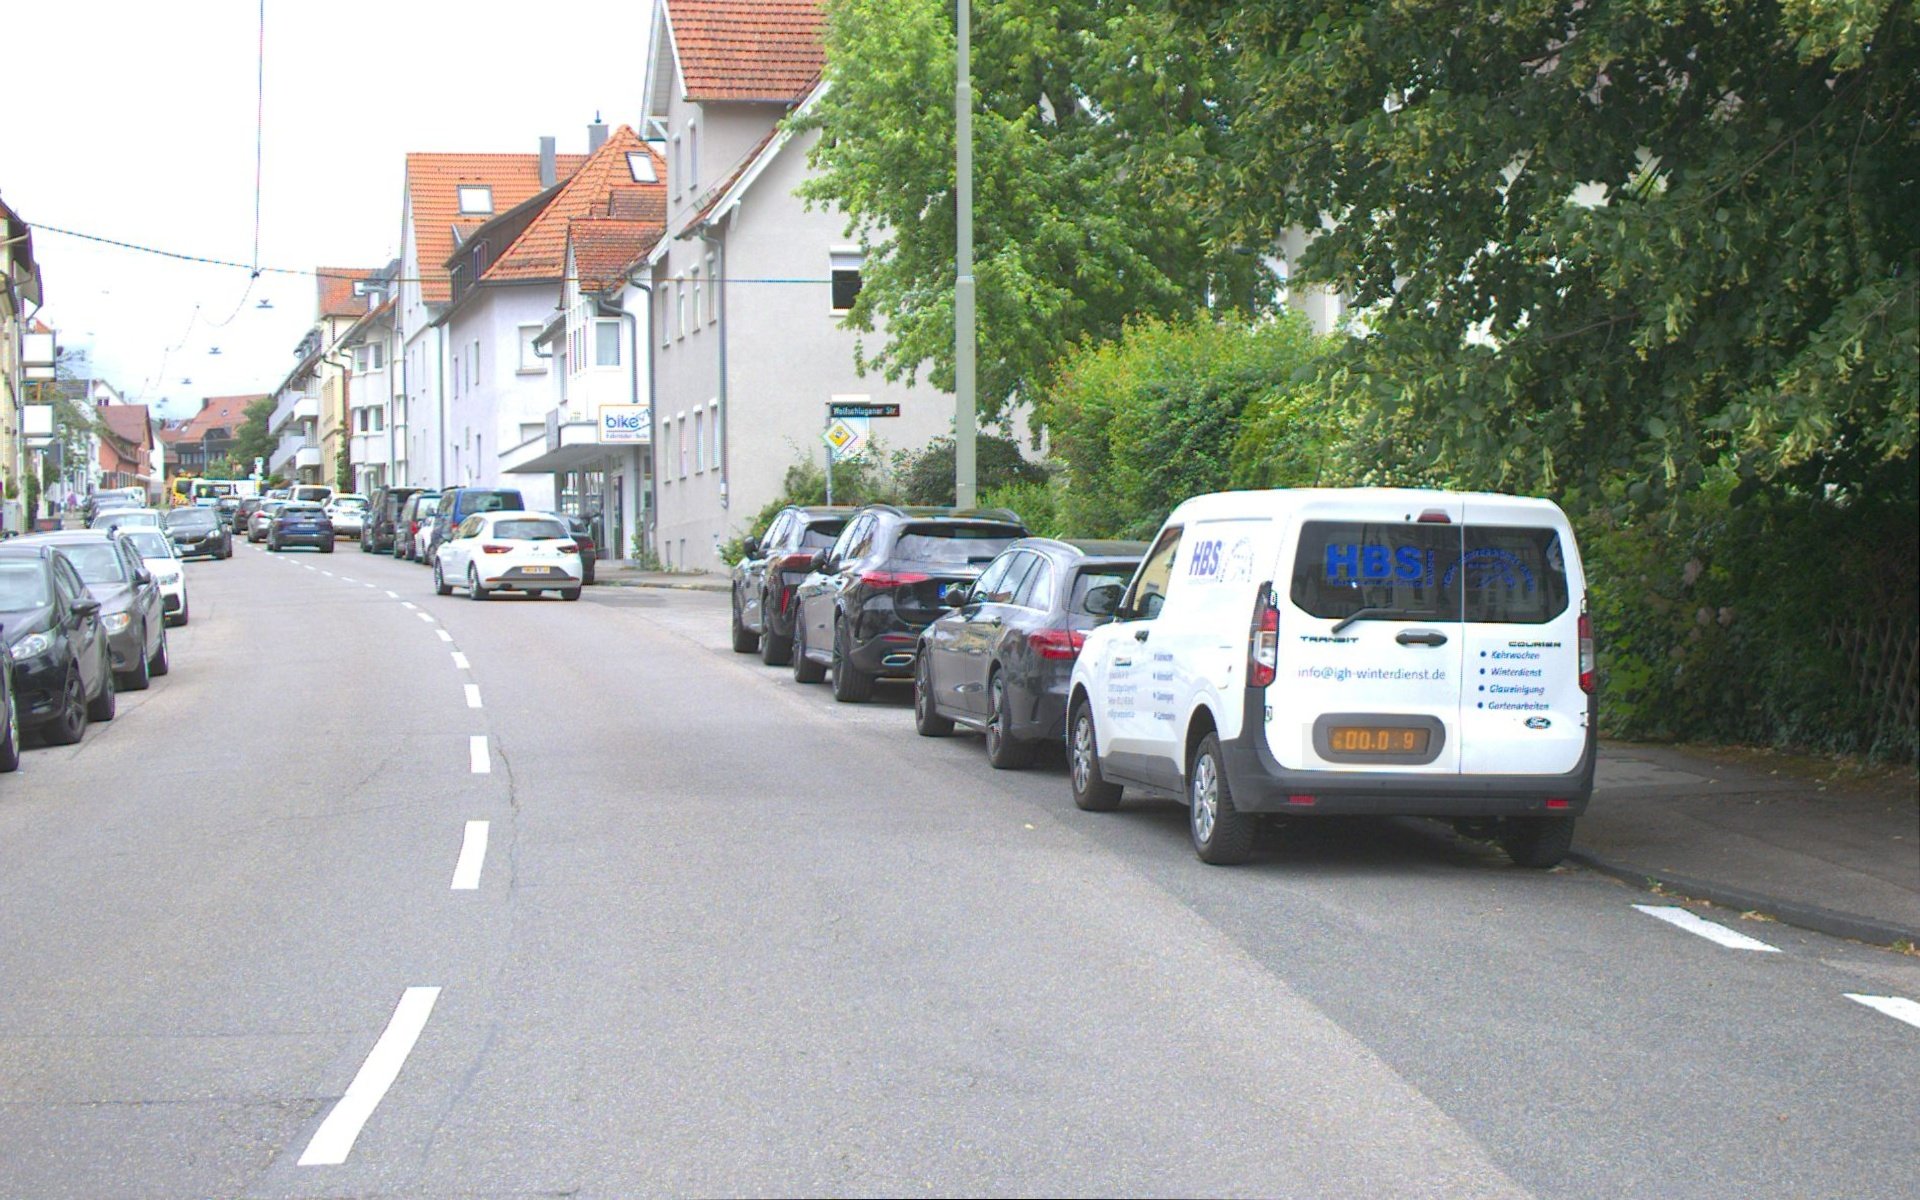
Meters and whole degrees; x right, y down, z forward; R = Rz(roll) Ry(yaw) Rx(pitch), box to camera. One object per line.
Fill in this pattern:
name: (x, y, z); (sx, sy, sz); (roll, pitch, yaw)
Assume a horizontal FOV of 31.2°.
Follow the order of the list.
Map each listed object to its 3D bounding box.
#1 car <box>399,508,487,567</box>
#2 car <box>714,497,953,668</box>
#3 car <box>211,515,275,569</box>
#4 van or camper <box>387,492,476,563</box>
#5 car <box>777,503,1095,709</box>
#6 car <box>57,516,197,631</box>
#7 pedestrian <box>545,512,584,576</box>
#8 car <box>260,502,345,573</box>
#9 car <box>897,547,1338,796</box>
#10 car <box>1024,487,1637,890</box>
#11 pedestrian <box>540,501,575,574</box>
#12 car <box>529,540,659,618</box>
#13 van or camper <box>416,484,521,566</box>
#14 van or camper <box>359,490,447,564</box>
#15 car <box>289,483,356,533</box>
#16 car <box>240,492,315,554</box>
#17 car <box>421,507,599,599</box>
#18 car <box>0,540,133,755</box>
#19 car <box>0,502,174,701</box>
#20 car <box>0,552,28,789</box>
car: (-13.384, -1.627, 88.790); (1.713, 1.431, 4.641); (1, 1, -15)
car: (-1.371, -0.204, 35.292); (1.810, 1.610, 4.540); (1, 1, -10)
car: (-27.396, -2.235, 131.249); (2.151, 2.007, 4.001); (1, 1, -15)
van or camper: (-14.523, -2.007, 94.228); (1.870, 1.822, 4.682); (2, 1, -15)
car: (-0.300, 0.017, 29.702); (1.993, 1.610, 4.540); (1, 1, -10)
car: (-11.828, -0.397, 49.007); (1.725, 1.453, 3.900); (-4, 2, -12)
pedestrian: (-10.785, -1.528, 93.817); (0.871, 1.719, 0.619); (1, 1, 21)
car: (-19.496, -1.863, 101.860); (2.151, 2.007, 4.001); (1, 1, -15)
car: (0.922, 0.394, 23.055); (1.993, 1.473, 4.621); (-1, 1, -10)
car: (1.715, 0.342, 17.541); (1.837, 1.768, 4.319); (2, 1, -11)
pedestrian: (-11.140, -1.741, 95.238); (0.760, 2.007, 0.619); (1, 1, 21)
car: (-7.696, -0.465, 71.933); (1.993, 1.512, 4.893); (1, 1, -14)
van or camper: (-11.855, -1.818, 82.774); (1.926, 1.919, 4.832); (0, 2, -15)
van or camper: (-16.531, -2.173, 101.746); (1.993, 2.058, 5.947); (2, 1, -14)
car: (-22.790, -3.305, 122.852); (1.940, 1.687, 4.002); (2, 1, -15)
car: (-22.978, -2.588, 115.670); (2.151, 2.007, 4.001); (1, 1, -15)
car: (-7.398, -0.796, 56.250); (1.940, 1.434, 4.001); (0, 2, -22)
car: (-7.345, 0.341, 25.952); (1.762, 1.433, 4.079); (-4, 2, -9)
car: (-8.704, -0.038, 33.107); (1.846, 1.674, 4.788); (-3, 3, -9)
car: (-6.742, 0.479, 20.742); (1.762, 1.433, 4.079); (-2, 2, -10)
